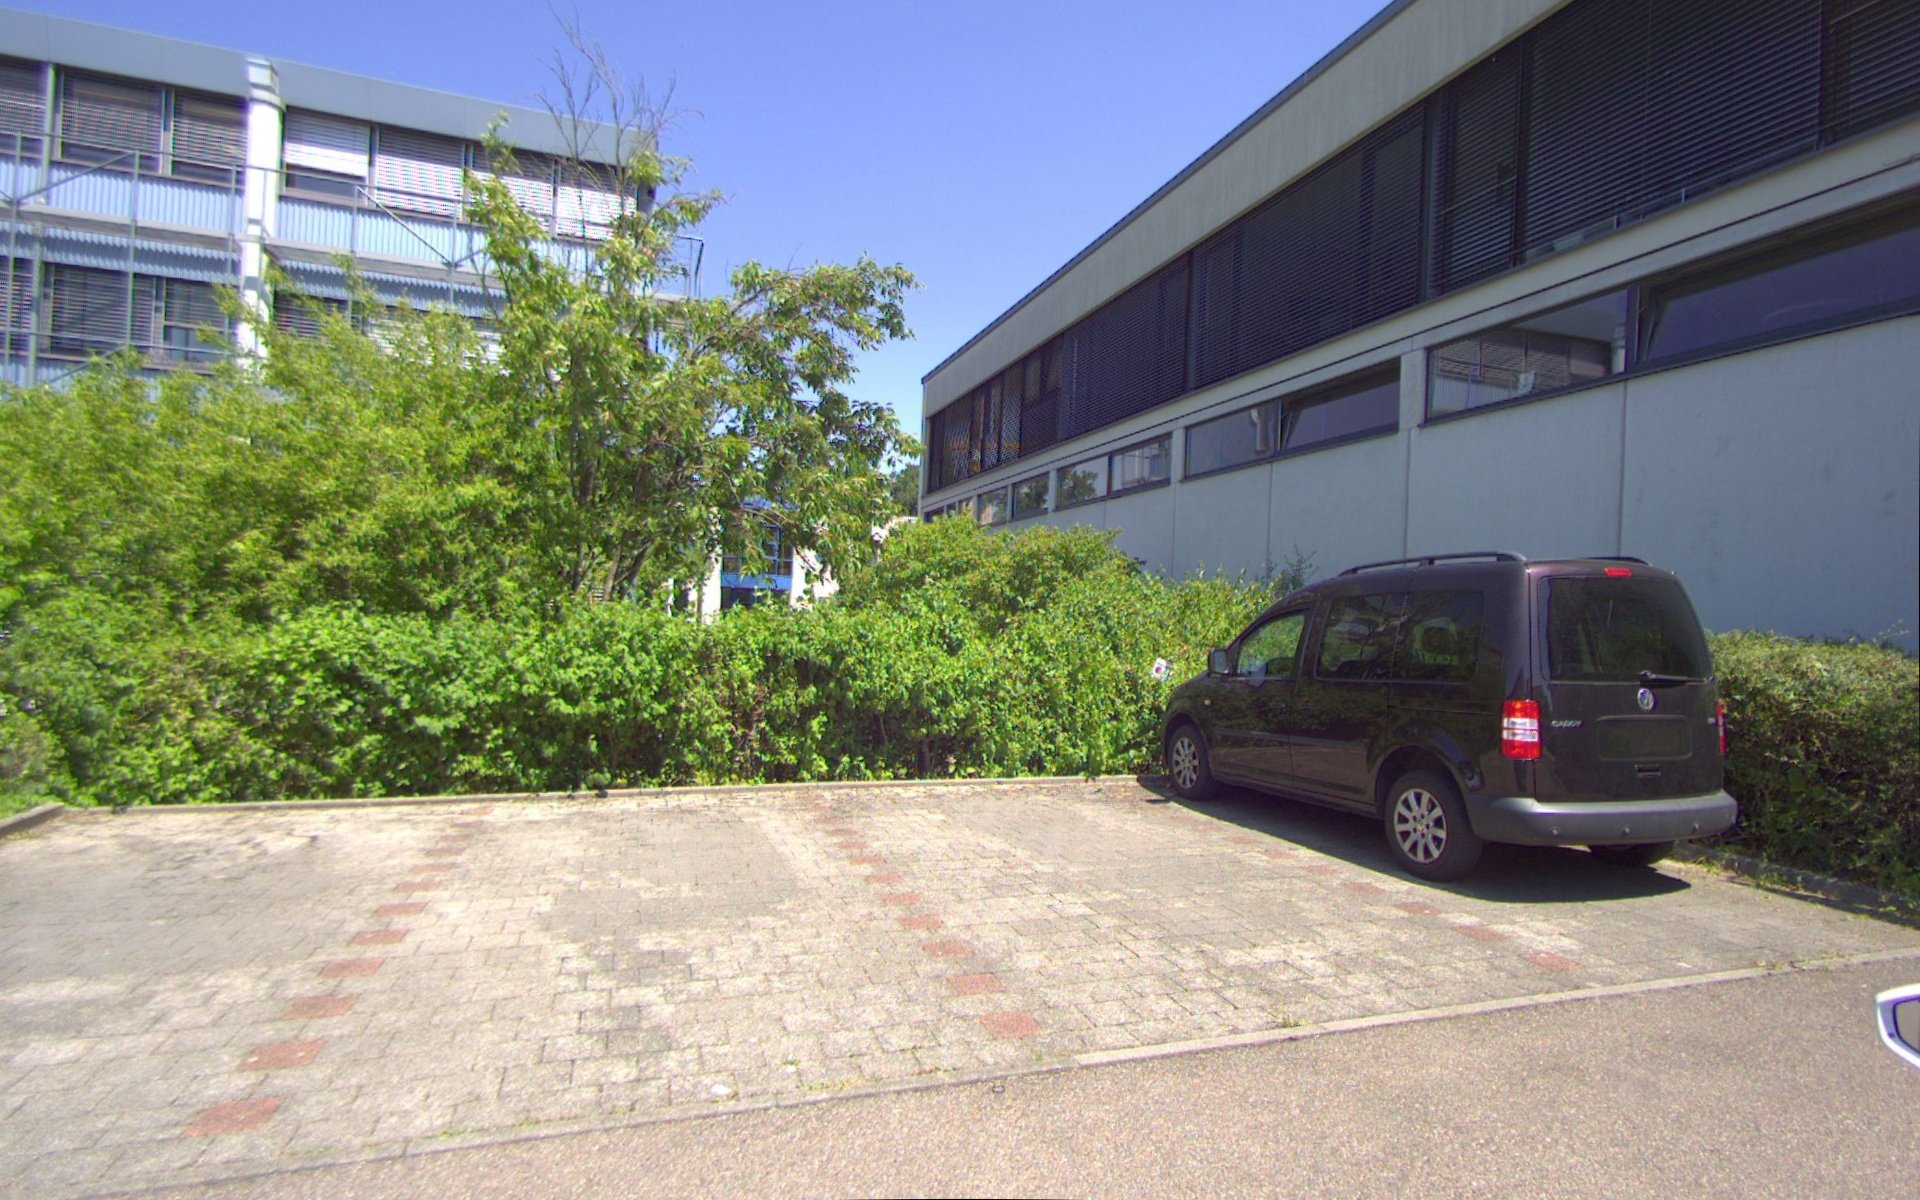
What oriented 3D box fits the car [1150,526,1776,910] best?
[{"bbox_3d":[3.079,0.622,7.190,1.652,1.909,4.056,1,-1,-17],"label":"car"}]
